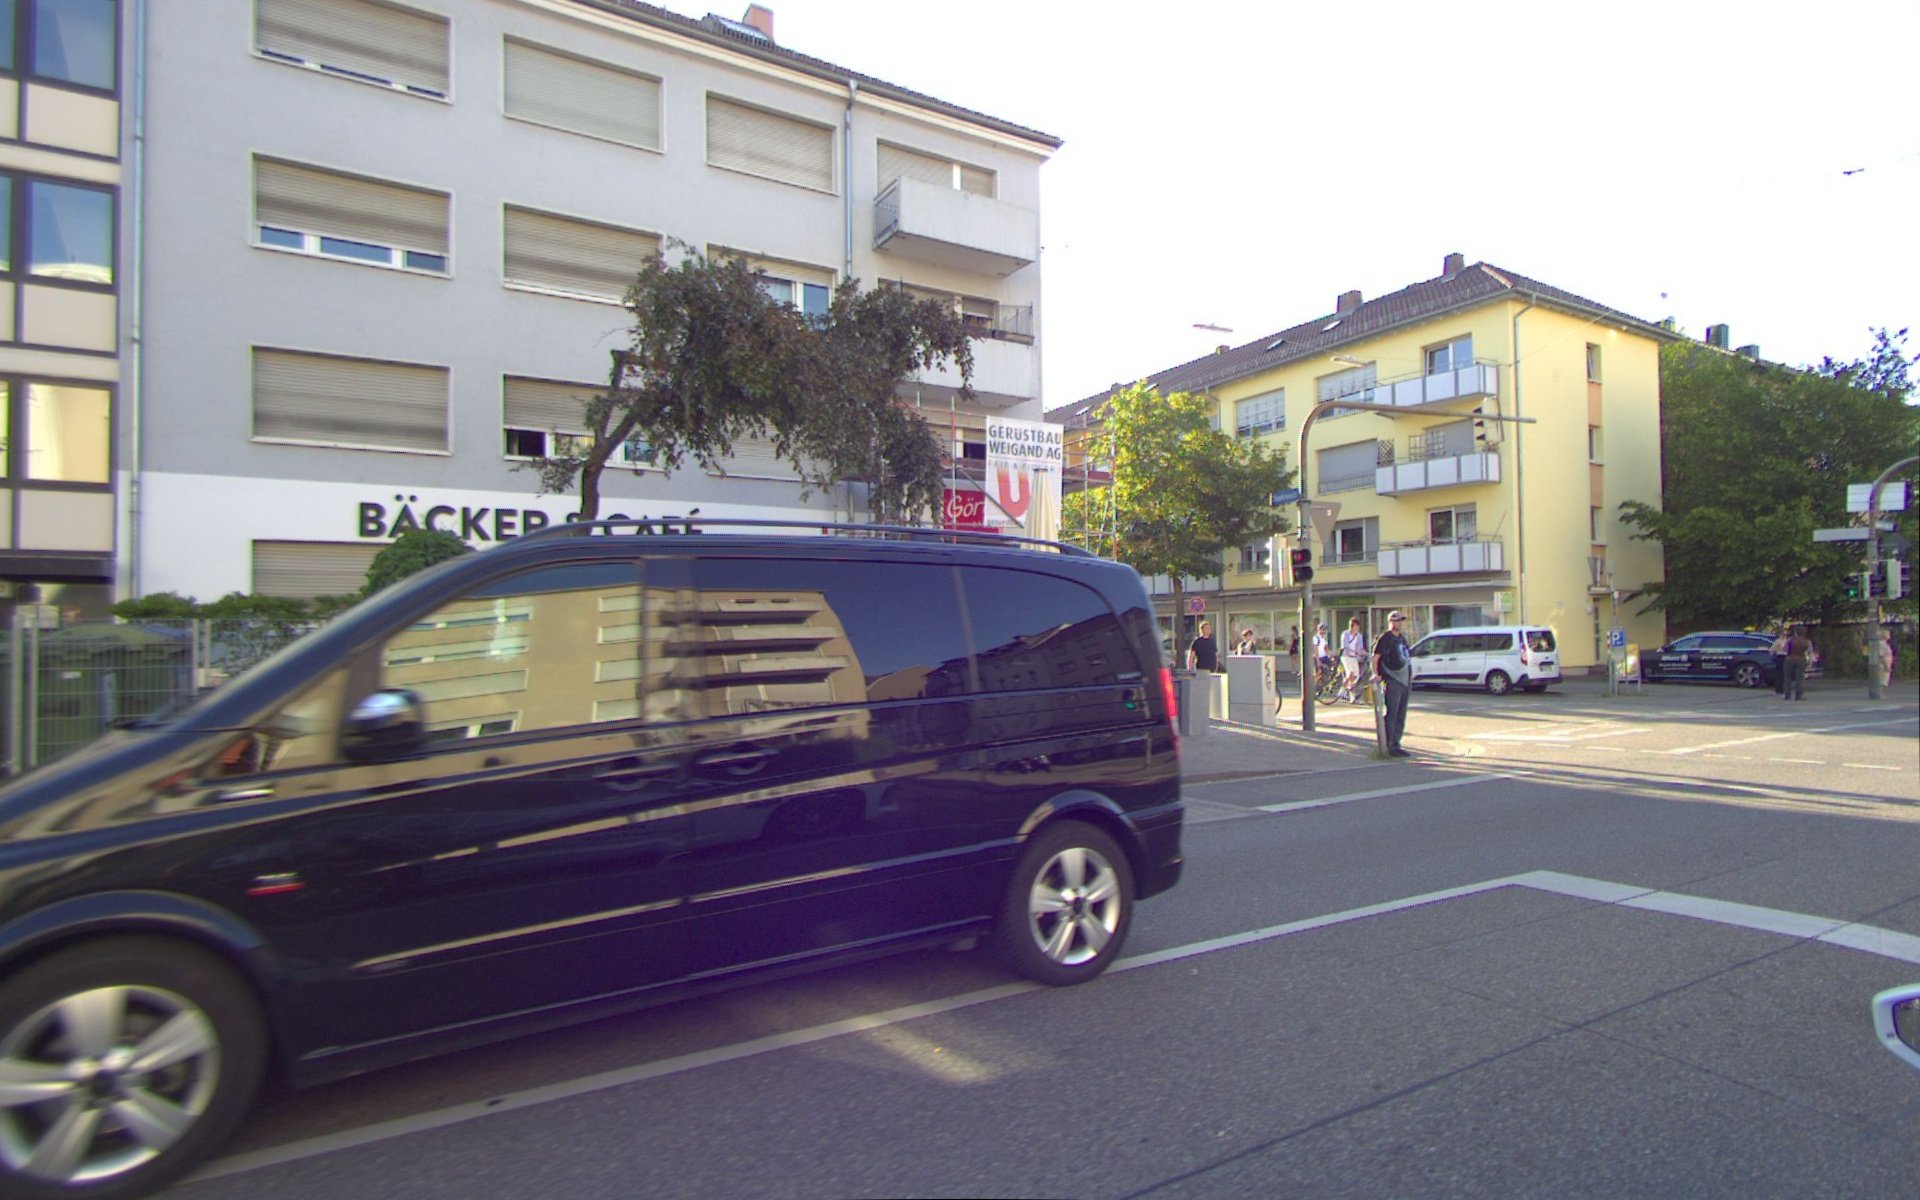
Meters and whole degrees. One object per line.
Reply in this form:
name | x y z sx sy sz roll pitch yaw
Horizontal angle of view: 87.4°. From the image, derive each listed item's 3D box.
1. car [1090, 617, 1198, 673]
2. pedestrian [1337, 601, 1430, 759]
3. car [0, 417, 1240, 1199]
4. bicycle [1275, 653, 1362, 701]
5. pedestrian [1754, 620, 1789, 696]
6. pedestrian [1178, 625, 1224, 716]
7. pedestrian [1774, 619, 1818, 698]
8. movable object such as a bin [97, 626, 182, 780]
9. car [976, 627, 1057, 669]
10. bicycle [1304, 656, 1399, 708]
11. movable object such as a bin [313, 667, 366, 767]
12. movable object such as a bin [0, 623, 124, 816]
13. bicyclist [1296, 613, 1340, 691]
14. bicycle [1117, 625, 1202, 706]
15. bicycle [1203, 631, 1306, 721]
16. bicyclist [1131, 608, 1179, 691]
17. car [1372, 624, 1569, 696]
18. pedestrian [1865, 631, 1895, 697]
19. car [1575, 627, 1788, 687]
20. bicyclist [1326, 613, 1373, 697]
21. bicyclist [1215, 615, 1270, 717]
car | 7.022 1.720 38.666 1.977 2.040 3.968 1 -2 -30
pedestrian | 5.620 1.042 13.350 0.811 2.013 0.776 1 -2 -30
car | -1.357 0.614 4.144 4.907 1.933 1.984 1 -4 -31
bicycle | 8.605 1.837 24.164 0.713 1.085 1.885 2 -3 -39
pedestrian | 19.747 1.408 24.445 0.498 1.820 0.447 1 -2 -30
pedestrian | 4.605 1.333 19.177 0.638 1.697 0.573 1 -2 -40
pedestrian | 19.609 1.376 23.572 0.498 1.820 0.613 1 -2 -30
movable object such as a bin | -7.952 0.978 9.756 0.569 1.446 0.390 1 -2 -32
car | 2.598 2.243 47.088 1.976 1.884 3.970 1 -3 -29
bicycle | 8.786 1.823 22.589 0.713 1.085 1.885 2 -3 -39
movable object such as a bin | -6.454 1.201 10.462 0.434 0.981 0.601 1 -2 -30
movable object such as a bin | -7.528 0.963 8.371 0.732 1.532 0.590 1 -2 -29
bicyclist | 8.608 1.244 24.164 0.648 1.847 0.733 1 -3 -39
bicycle | 4.445 1.443 22.528 0.749 1.728 1.909 1 -2 -32
bicycle | 5.973 1.510 20.480 0.749 1.728 2.011 1 -2 -32
bicyclist | 4.393 1.116 22.606 0.702 1.823 0.782 1 -2 -32
car | 14.032 1.625 27.912 1.840 1.835 4.612 1 -3 -30
pedestrian | 21.510 1.484 23.478 0.633 1.523 0.299 1 -2 -30
car | 20.421 1.546 28.649 1.840 1.555 4.612 1 -2 -30
bicyclist | 8.761 1.230 22.619 0.648 1.847 0.733 1 -3 -39
bicyclist | 5.824 1.341 20.721 0.835 2.040 0.721 1 -2 -33
